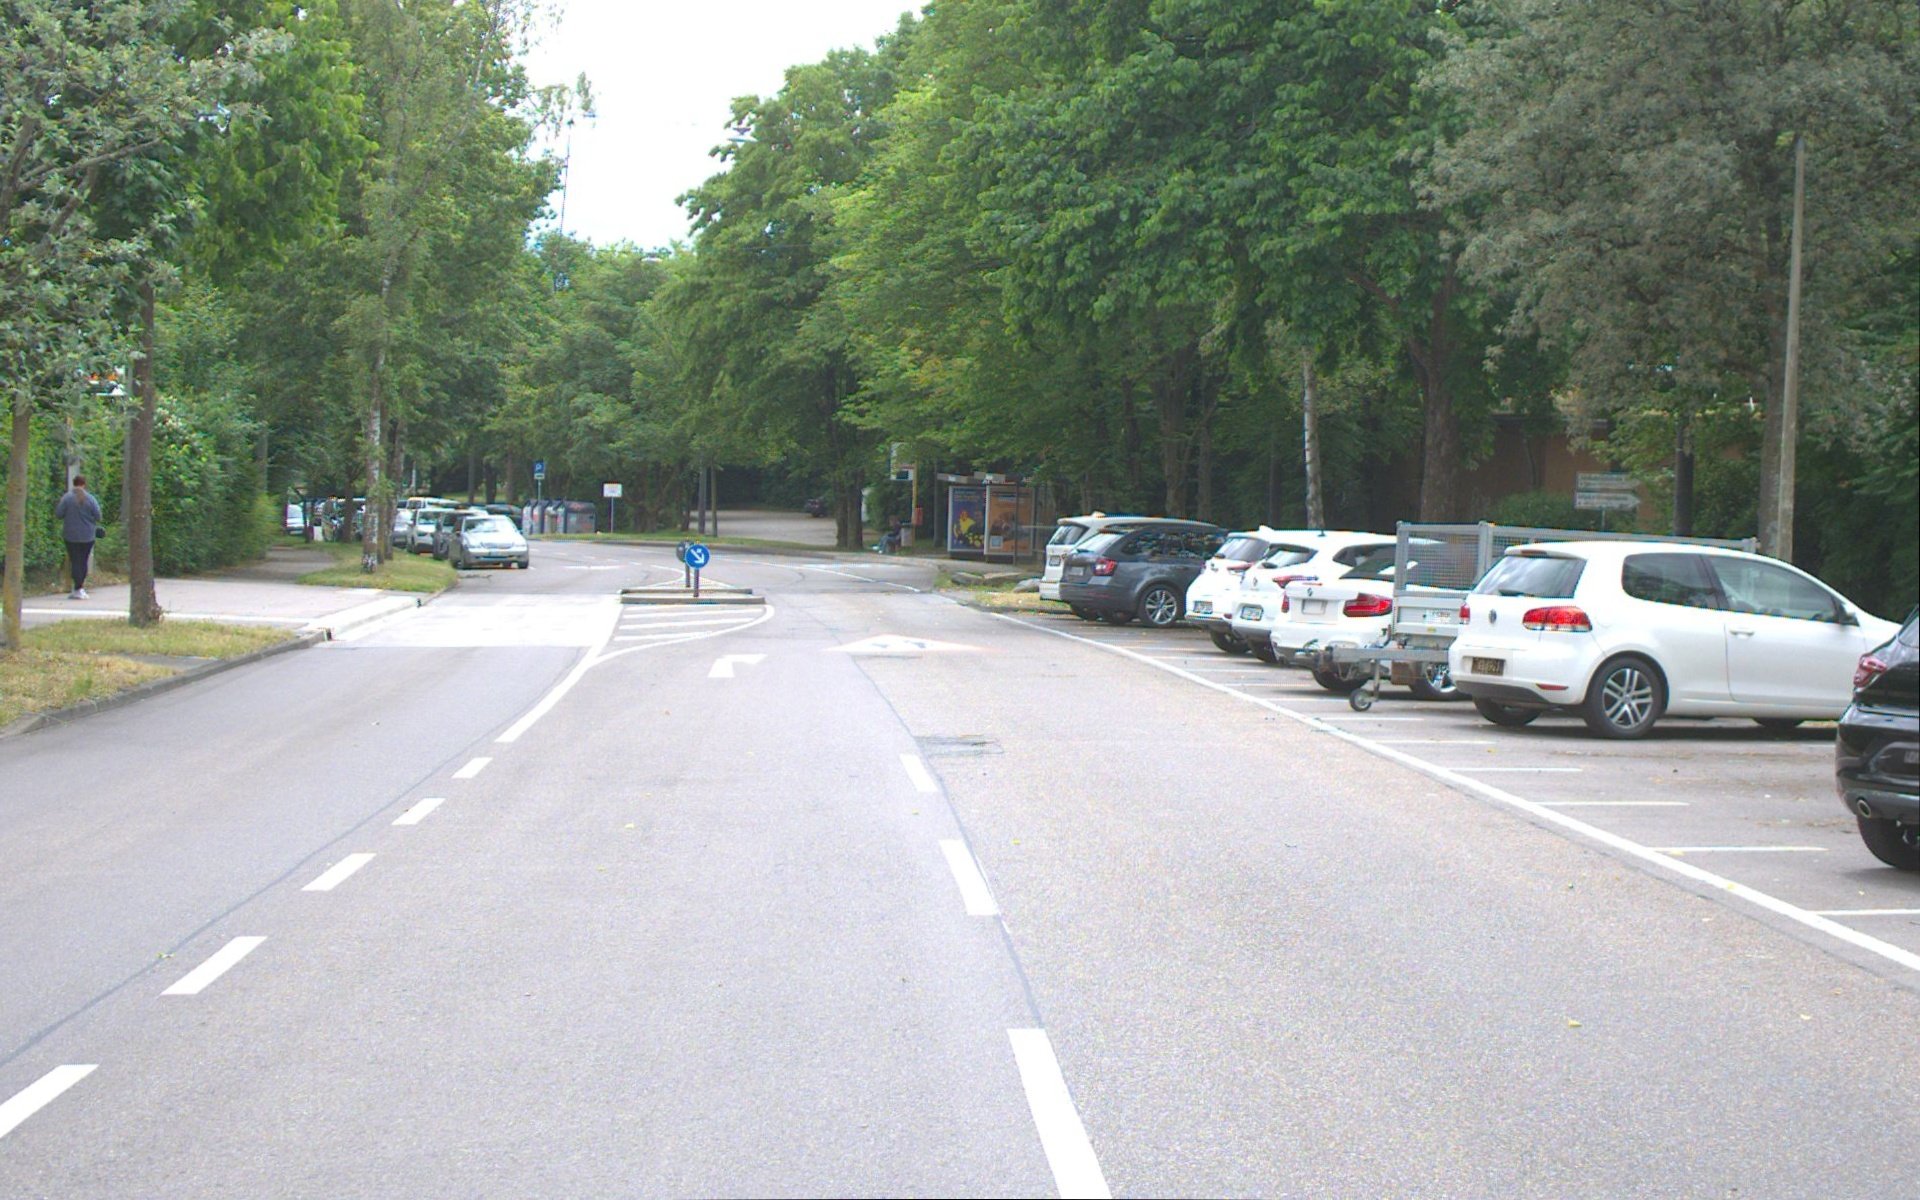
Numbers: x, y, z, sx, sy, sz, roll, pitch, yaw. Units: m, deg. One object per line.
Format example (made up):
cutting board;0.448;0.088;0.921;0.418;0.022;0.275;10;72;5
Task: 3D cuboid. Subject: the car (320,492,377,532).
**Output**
car;-23.034;-3.320;129.410;1.866;1.466;4.002;1;2;-14

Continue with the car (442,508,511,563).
car;-13.663;-1.846;97.210;1.866;1.466;4.001;1;2;-8

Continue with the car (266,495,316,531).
car;-28.231;-3.686;145.041;1.866;1.466;4.002;1;2;-14

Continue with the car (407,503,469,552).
car;-16.534;-2.310;109.002;1.866;1.466;4.001;1;2;-8

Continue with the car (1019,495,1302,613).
car;3.062;-0.707;52.567;3.883;1.662;1.744;2;1;-20

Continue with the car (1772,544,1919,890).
car;5.838;0.548;15.448;3.883;1.444;1.845;1;2;-24

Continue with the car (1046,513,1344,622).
car;3.400;-0.477;49.786;3.883;1.424;1.744;2;1;-20

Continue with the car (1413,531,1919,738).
car;5.664;0.266;26.585;3.883;1.444;1.744;1;2;-22

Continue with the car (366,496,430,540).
car;-19.599;-2.881;119.820;1.866;1.466;4.002;1;2;-14

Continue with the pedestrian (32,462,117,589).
pedestrian;-12.185;-1.029;47.331;0.974;1.724;0.849;1;1;-4

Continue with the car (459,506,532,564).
car;-12.385;-1.751;91.657;1.866;1.466;4.001;1;2;-8

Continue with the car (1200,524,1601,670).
car;4.760;-0.039;37.226;3.883;1.424;1.744;2;1;-20

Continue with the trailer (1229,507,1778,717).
trailer;4.534;0.099;28.750;4.153;1.567;1.712;2;1;-20

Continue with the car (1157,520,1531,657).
car;4.431;-0.136;39.798;3.883;1.424;1.744;2;1;-20

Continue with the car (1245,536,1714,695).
car;4.751;0.145;31.442;3.883;1.305;1.744;1;2;-25

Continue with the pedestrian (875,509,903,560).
pedestrian;-2.224;-2.045;107.384;0.741;1.564;0.651;1;1;10
